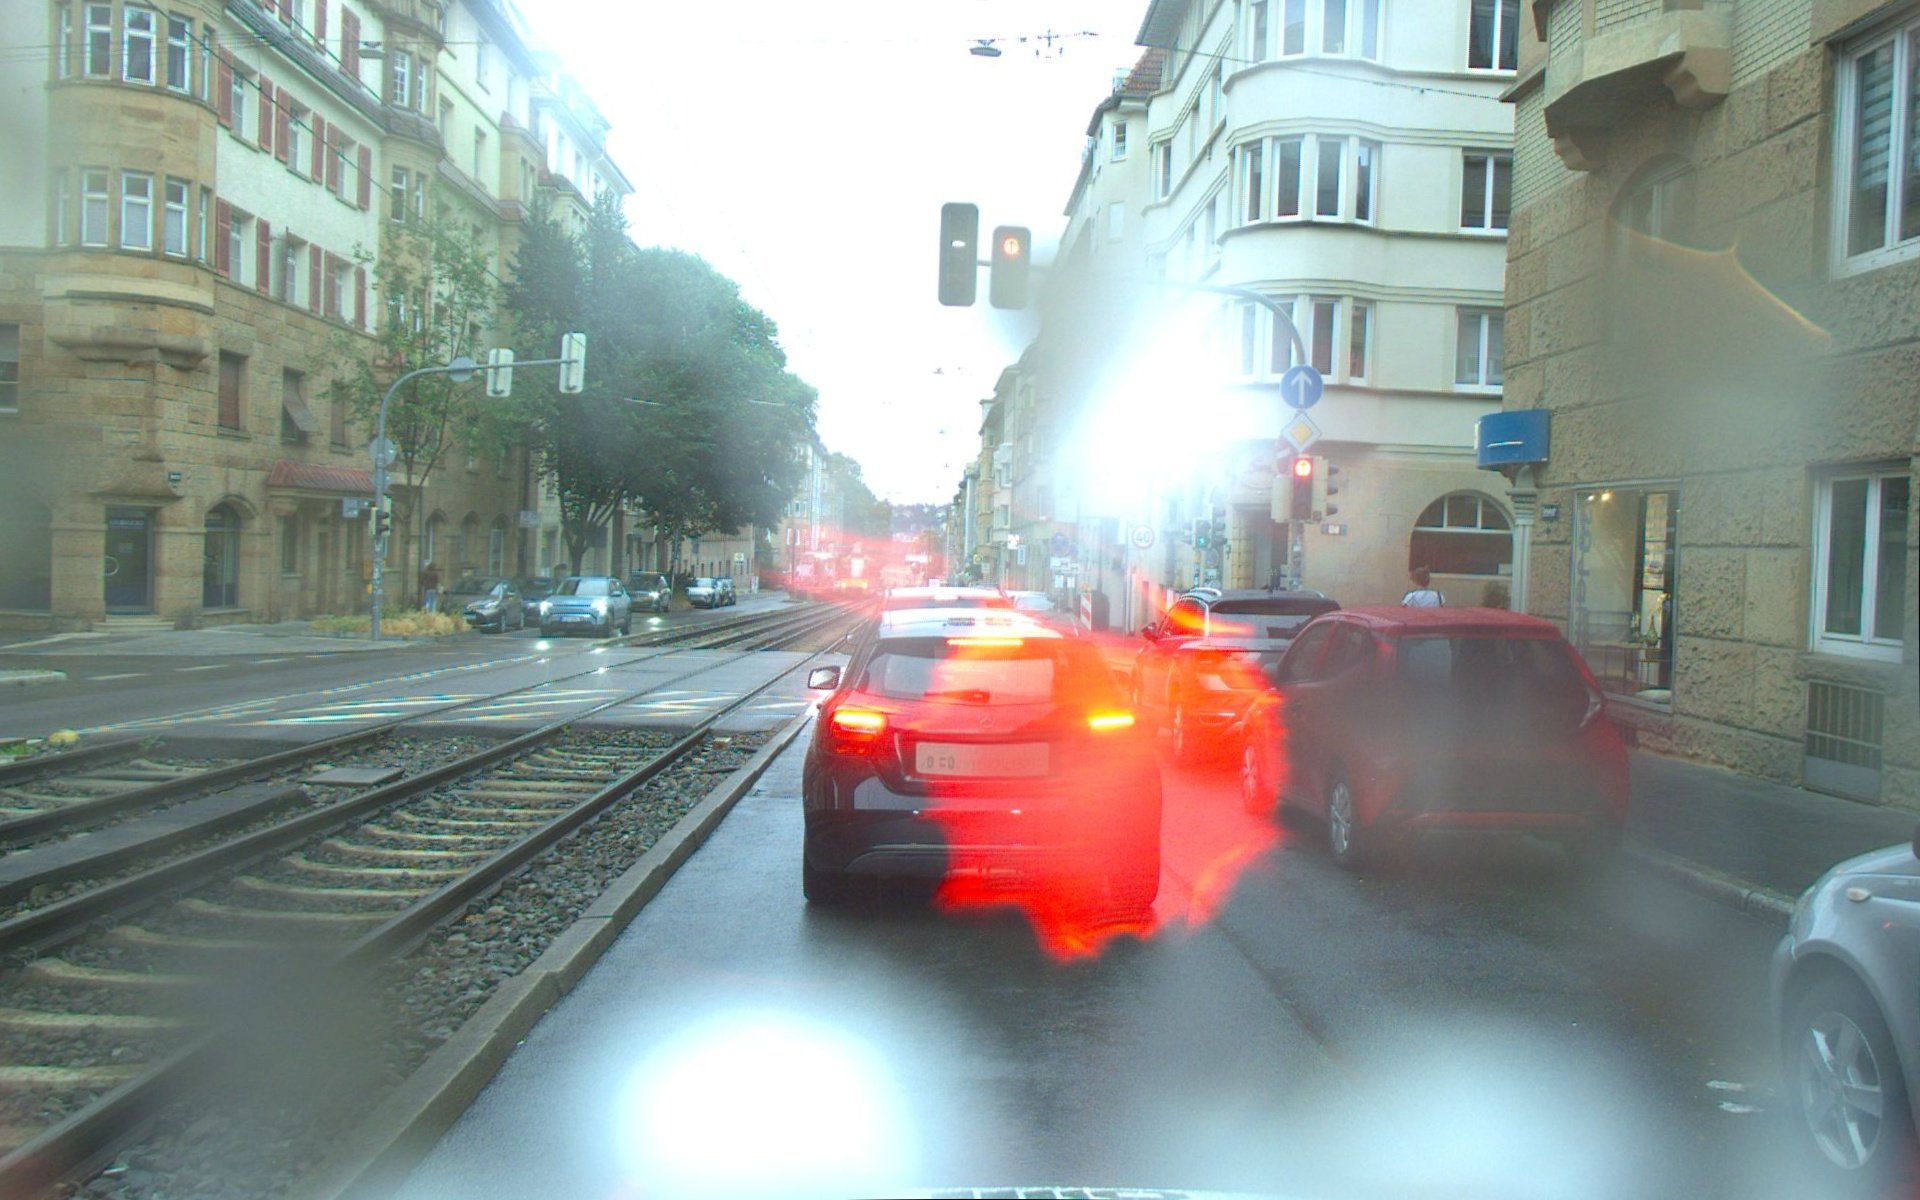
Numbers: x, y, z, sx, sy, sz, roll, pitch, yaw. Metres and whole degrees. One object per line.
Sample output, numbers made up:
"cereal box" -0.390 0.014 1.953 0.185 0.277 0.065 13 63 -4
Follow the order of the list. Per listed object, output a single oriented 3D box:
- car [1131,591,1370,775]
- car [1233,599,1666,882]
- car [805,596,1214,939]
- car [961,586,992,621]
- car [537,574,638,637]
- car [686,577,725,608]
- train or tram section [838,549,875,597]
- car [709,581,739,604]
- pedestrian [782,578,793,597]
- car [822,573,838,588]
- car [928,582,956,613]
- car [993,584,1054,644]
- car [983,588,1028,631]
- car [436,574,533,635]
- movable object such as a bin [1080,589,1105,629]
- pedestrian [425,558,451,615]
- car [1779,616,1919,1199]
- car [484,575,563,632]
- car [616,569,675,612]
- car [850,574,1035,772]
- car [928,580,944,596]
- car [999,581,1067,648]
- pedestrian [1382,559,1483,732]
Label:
"car" 2.632 0.686 15.760 1.513 1.512 3.829 1 0 -1
"car" 2.907 0.758 10.525 1.609 1.473 3.297 1 0 -3
"car" 0.192 0.742 9.415 1.792 1.483 4.103 1 0 -1
"car" 0.723 0.140 73.570 1.268 1.467 2.928 1 0 -1
"car" -10.047 0.153 44.890 1.860 1.615 3.972 1 0 -1
"car" -13.658 -0.374 88.930 1.557 1.608 3.917 1 0 -1
"train or tram section" -9.063 -2.322 146.103 2.726 3.928 10.427 1 0 -1
"car" -14.026 -0.430 98.335 1.419 1.354 3.270 1 0 -3
"pedestrian" -18.739 -1.370 179.890 1.031 1.992 1.043 2 0 0
"car" -11.936 -1.776 151.657 1.349 1.271 3.296 1 0 -2
"car" -1.005 -0.156 93.828 1.513 1.664 3.686 1 0 0
"car" 1.769 0.386 47.104 1.513 1.618 3.547 1 0 -1
"car" 1.663 0.334 61.513 1.513 1.512 3.547 1 0 -1
"car" -13.012 0.137 45.459 1.718 1.579 4.032 1 0 -4
"movable object such as a bin" 4.763 0.311 59.608 0.859 1.413 0.983 1 -1 3
"pedestrian" -15.783 -0.406 50.037 0.619 1.702 0.701 1 -1 -10
"car" 3.125 0.798 3.065 1.581 1.493 3.312 0 0 0
"car" -13.277 0.118 50.486 1.683 1.639 3.914 1 0 -5
"car" -13.562 -0.404 71.469 1.837 1.767 3.917 1 0 -1
"car" -0.175 0.627 15.799 1.533 1.637 3.813 1 0 -1
"car" -2.972 -1.449 204.047 1.953 1.909 3.999 1 0 -1
"car" 1.839 0.359 42.630 1.513 1.618 3.547 1 0 -1
"pedestrian" 5.034 0.478 17.668 0.726 1.778 1.111 1 -1 -1
